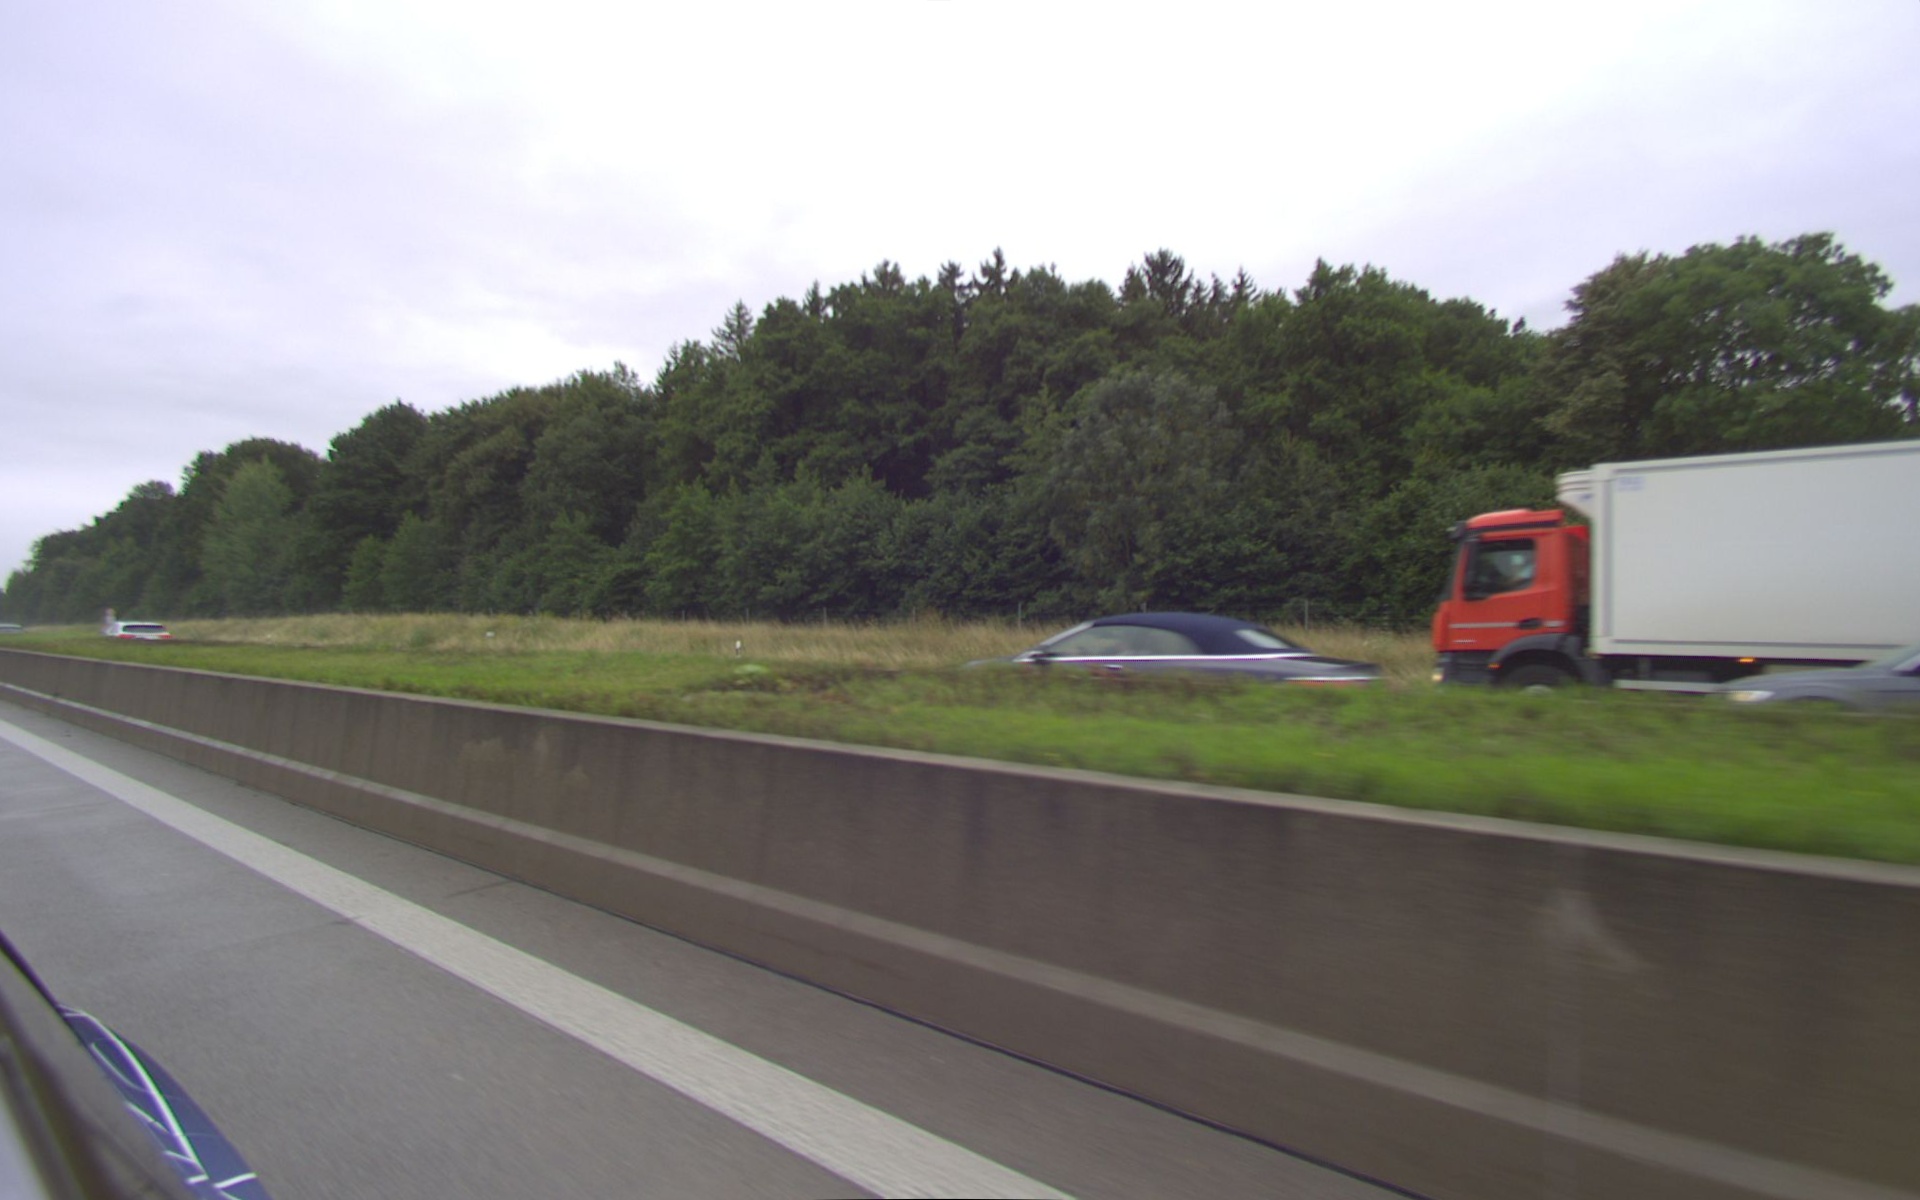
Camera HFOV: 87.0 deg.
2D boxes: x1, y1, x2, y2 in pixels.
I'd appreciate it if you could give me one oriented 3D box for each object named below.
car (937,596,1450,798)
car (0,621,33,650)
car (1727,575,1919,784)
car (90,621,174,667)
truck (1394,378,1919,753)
[{"bbox_3d":[2.003,0.772,9.563,4.451,1.491,1.710,-1,-2,40],"label":"car"},{"bbox_3d":[-54.271,2.011,57.538,4.343,1.553,1.796,-1,-1,40],"label":"car"},{"bbox_3d":[9.311,0.611,7.759,5.379,1.643,1.970,-1,-1,40],"label":"car"},{"bbox_3d":[-30.648,1.586,37.415,4.451,1.553,1.635,-1,-1,40],"label":"car"},{"bbox_3d":[11.645,-0.376,10.930,12.440,3.885,2.873,-3,-3,40],"label":"truck"}]
